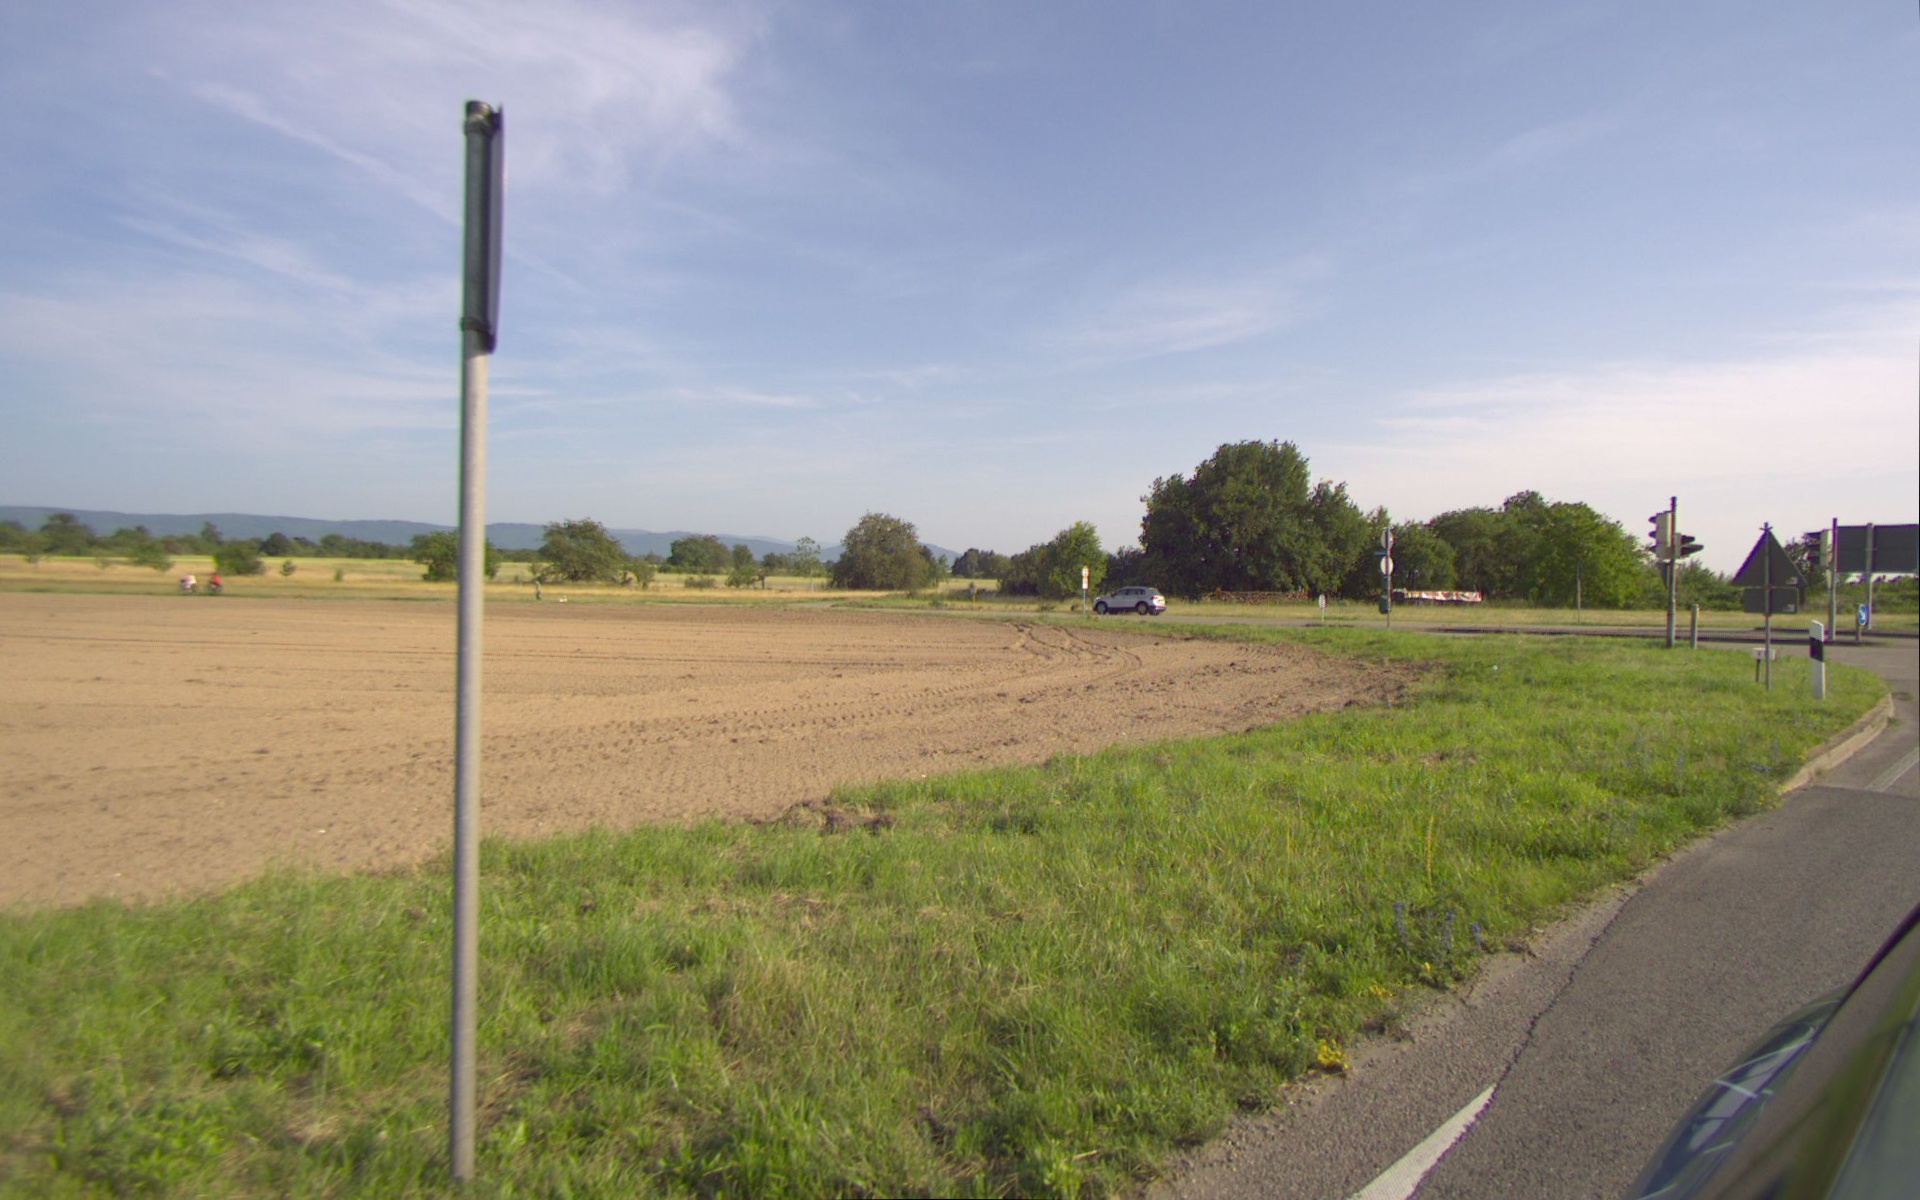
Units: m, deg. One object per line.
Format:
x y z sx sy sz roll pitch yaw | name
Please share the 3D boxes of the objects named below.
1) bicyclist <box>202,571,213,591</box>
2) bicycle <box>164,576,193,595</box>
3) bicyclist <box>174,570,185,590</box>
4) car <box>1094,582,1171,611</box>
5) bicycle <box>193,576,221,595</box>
-61.668 -1.581 82.983 0.540 1.617 0.487 0 0 2 | bicyclist
-63.111 -1.188 81.727 1.941 1.550 0.503 0 0 3 | bicycle
-63.017 -1.586 81.725 0.540 1.617 0.487 0 0 2 | bicyclist
10.059 -0.201 59.000 3.974 1.672 1.975 0 0 35 | car
-61.752 -1.219 83.003 1.941 1.550 0.503 0 0 3 | bicycle
